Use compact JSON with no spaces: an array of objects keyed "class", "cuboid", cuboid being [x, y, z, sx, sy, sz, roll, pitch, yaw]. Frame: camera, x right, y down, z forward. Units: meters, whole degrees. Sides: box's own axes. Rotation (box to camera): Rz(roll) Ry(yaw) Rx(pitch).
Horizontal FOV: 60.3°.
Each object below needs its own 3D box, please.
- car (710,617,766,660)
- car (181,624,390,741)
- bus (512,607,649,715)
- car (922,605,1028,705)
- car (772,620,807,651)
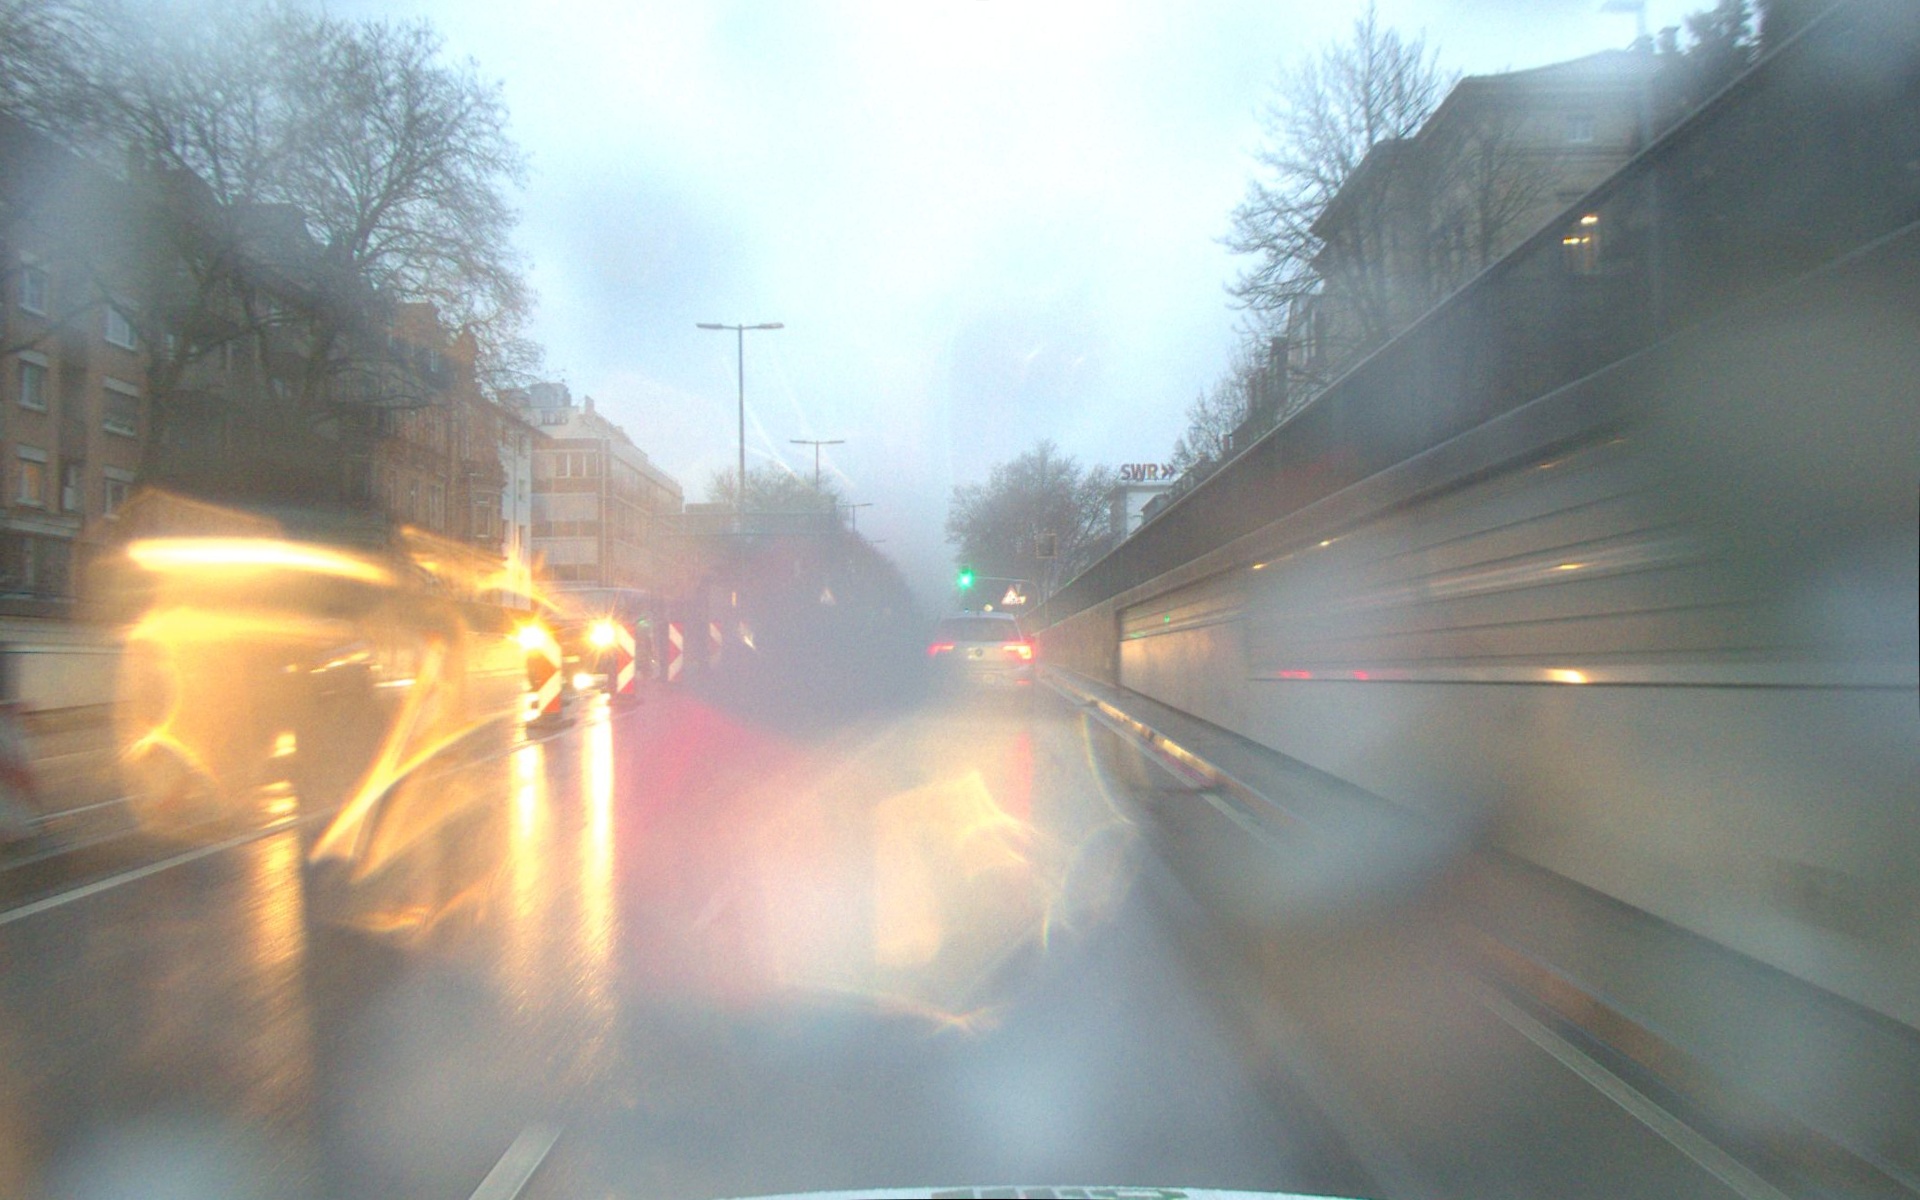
[{"class":"car","cuboid":[-8.248,1.403,61.662,1.575,1.407,3.694,-3,0,-1]},{"class":"car","cuboid":[-10.395,1.221,25.806,1.640,1.517,3.873,-3,0,-1]},{"class":"bus","cuboid":[-7.937,1.215,35.038,1.640,2.000,5.174,-4,0,-1]},{"class":"car","cuboid":[0.204,0.841,25.287,1.500,1.422,3.433,0,-2,0]},{"class":"car","cuboid":[-8.801,1.821,85.544,1.466,1.407,3.433,-3,0,-2]}]
